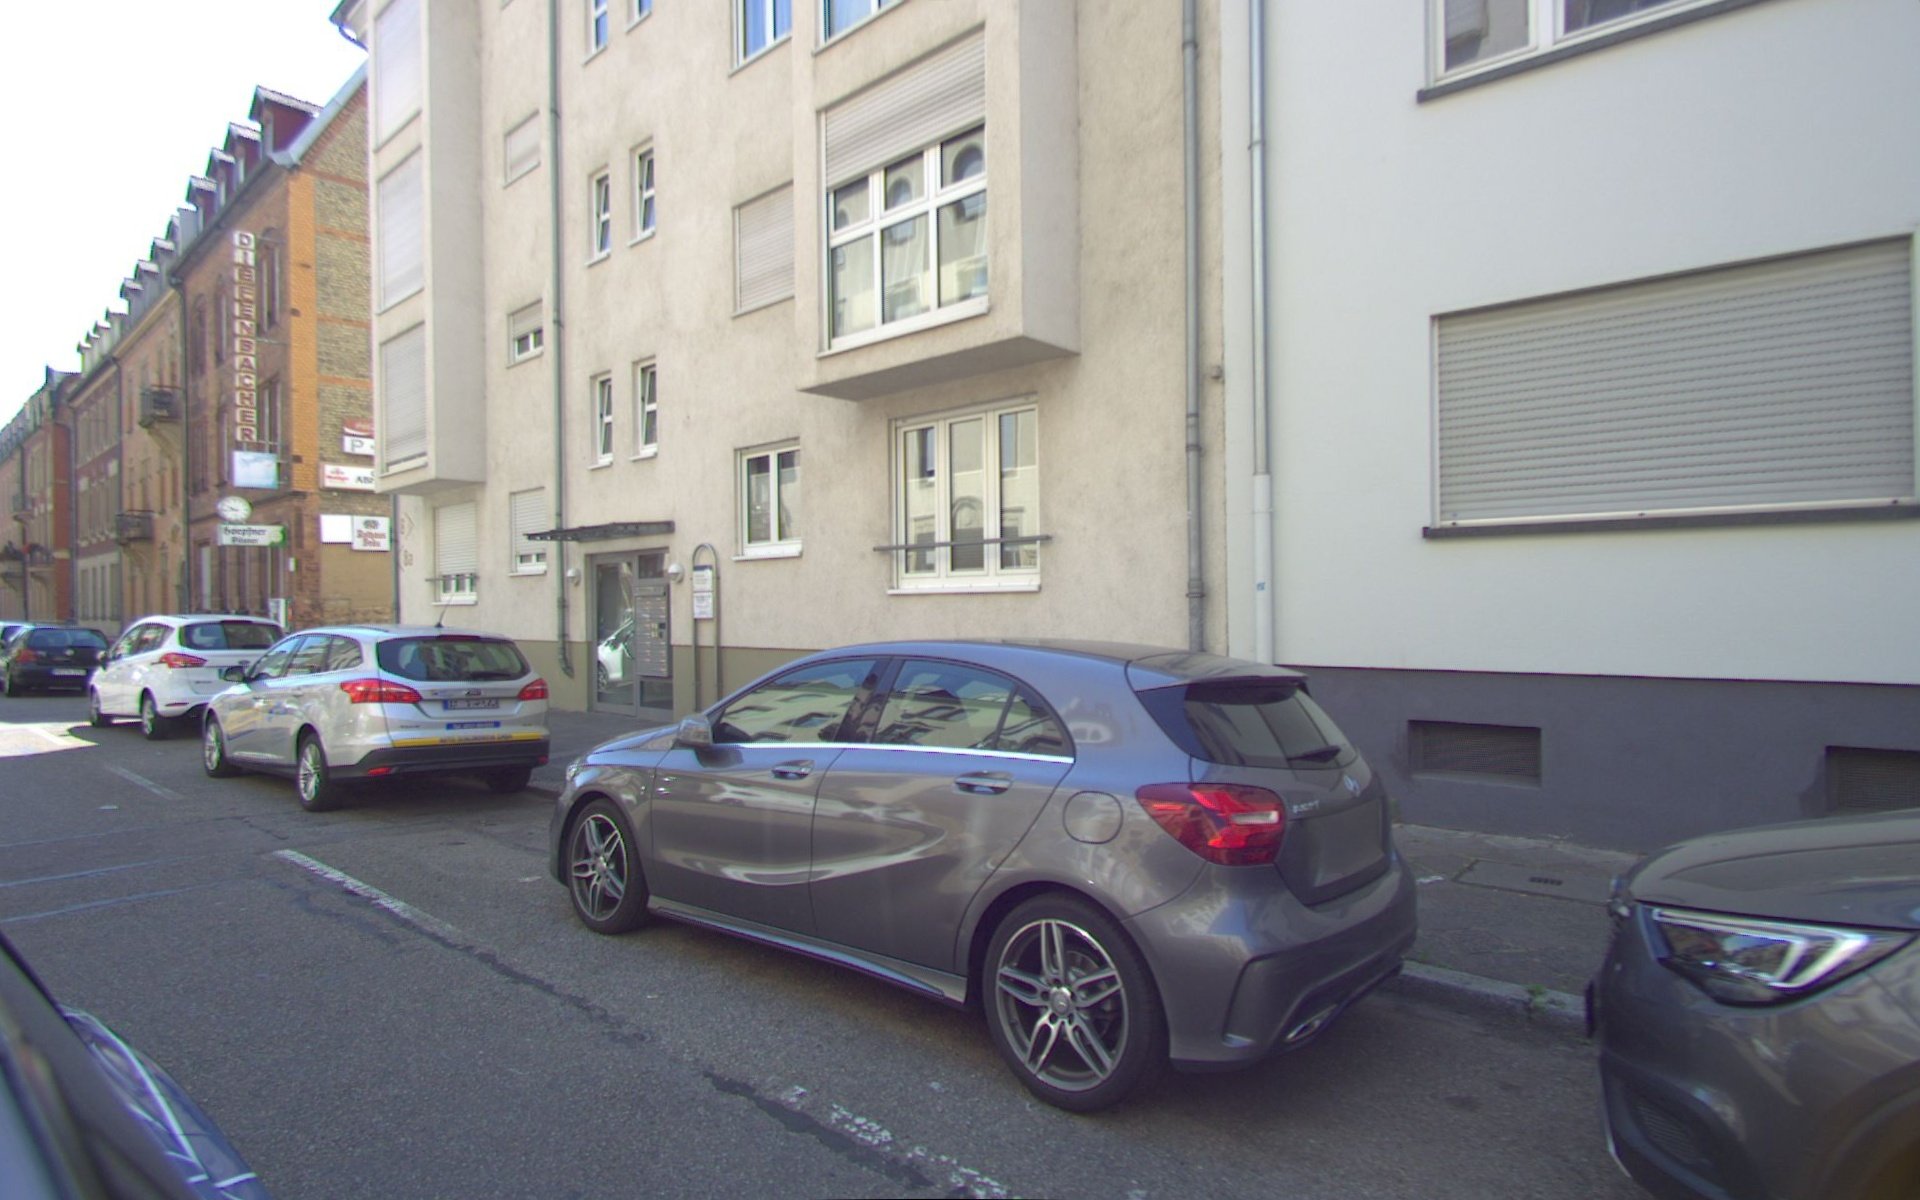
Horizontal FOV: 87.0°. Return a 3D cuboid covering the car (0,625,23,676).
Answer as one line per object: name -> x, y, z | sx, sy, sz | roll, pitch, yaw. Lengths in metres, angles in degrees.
car -> -29.705, 1.479, 30.596 | 3.522, 1.484, 1.432 | -1, -4, 39

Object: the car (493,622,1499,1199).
car -> -0.185, 0.821, 4.533 | 4.344, 1.404, 1.747 | -1, -2, 40

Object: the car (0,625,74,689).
car -> -22.821, 1.339, 24.475 | 3.677, 1.440, 1.611 | -1, -5, 42

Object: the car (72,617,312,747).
car -> -10.704, 1.061, 14.030 | 3.847, 1.561, 1.613 | -1, -4, 37

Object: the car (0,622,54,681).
car -> -26.339, 1.383, 27.852 | 3.521, 1.555, 1.432 | -1, -4, 38

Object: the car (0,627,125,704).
car -> -18.974, 1.326, 21.121 | 3.836, 1.440, 1.758 | -1, -5, 42

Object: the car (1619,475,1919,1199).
car -> 3.252, 0.637, 1.218 | 3.973, 1.656, 1.587 | -1, -2, 40

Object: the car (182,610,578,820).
car -> -5.486, 0.883, 9.338 | 4.344, 1.506, 1.713 | -1, -3, 40
